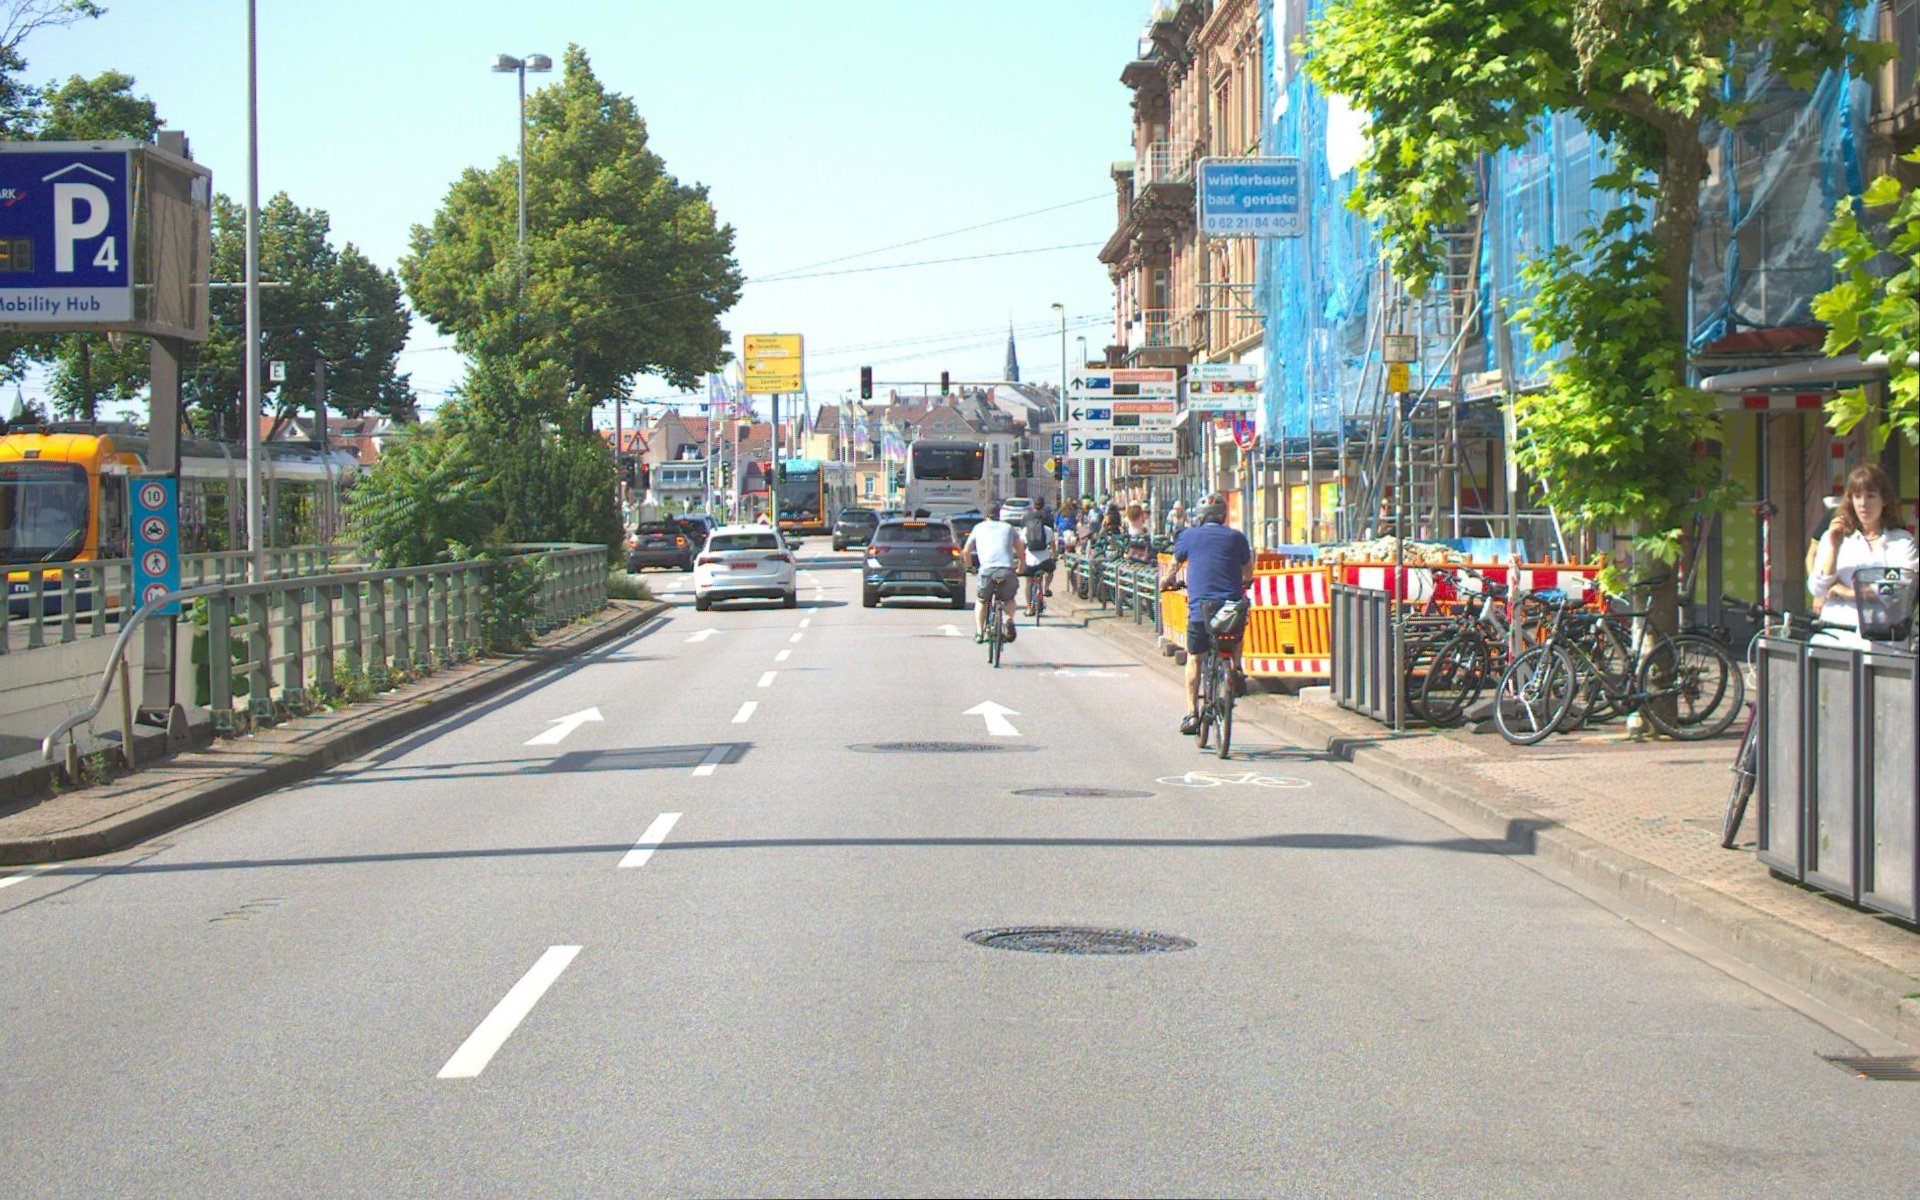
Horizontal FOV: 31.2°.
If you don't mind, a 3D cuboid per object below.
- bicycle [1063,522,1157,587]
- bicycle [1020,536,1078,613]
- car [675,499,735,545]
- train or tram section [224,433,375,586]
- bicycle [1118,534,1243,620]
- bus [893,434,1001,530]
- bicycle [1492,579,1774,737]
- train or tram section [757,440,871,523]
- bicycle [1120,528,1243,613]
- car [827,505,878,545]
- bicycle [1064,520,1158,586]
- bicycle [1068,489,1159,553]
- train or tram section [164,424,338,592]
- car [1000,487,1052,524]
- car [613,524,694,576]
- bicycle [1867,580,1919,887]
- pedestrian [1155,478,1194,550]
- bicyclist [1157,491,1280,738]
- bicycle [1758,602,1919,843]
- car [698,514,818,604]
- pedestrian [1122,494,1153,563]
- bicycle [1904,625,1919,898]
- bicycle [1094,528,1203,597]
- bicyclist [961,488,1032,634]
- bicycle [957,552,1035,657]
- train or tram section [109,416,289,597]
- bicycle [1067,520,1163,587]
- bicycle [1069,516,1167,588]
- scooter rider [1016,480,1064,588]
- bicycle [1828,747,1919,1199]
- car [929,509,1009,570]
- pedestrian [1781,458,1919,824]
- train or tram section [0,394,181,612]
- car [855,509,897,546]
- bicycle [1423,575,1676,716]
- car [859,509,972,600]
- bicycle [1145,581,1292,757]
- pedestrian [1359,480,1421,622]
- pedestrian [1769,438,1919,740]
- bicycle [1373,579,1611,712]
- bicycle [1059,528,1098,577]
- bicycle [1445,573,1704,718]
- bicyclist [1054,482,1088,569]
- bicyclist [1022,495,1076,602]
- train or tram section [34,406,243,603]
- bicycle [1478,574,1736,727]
[{"bbox_3d":[2.769,-0.844,63.470,1.693,1.174,0.463,1,1,0],"label":"bicycle"},{"bbox_3d":[1.319,-0.390,51.260,0.734,1.089,1.898,2,1,-2],"label":"bicycle"},{"bbox_3d":[-7.574,-2.316,102.387,1.451,1.296,4.000,2,1,0],"label":"car"},{"bbox_3d":[-16.209,-2.213,84.662,2.613,3.569,6.018,2,1,-1],"label":"train or tram section"},{"bbox_3d":[3.090,-0.329,48.231,1.693,1.174,0.608,1,1,0],"label":"bicycle"},{"bbox_3d":[-0.470,-3.571,105.648,2.969,2.767,8.643,2,1,-2],"label":"bus"},{"bbox_3d":[4.424,0.376,22.646,1.752,1.014,0.483,0,1,-3],"label":"bicycle"},{"bbox_3d":[-6.704,-5.438,159.324,2.824,3.569,10.027,2,1,12],"label":"train or tram section"},{"bbox_3d":[3.155,-0.421,48.980,1.693,1.174,0.608,1,1,0],"label":"bicycle"},{"bbox_3d":[-3.674,-2.561,117.923,1.452,1.296,3.341,2,1,3],"label":"car"},{"bbox_3d":[2.759,-0.861,62.943,1.693,1.174,0.451,1,1,0],"label":"bicycle"},{"bbox_3d":[2.914,-1.510,65.337,1.693,1.174,0.609,-1,2,0],"label":"bicycle"},{"bbox_3d":[-16.041,-2.075,78.231,2.613,3.569,6.899,2,1,-1],"label":"train or tram section"},{"bbox_3d":[3.432,-4.903,177.854,1.994,1.871,3.999,-1,2,11],"label":"car"},{"bbox_3d":[-8.245,-1.363,92.702,1.815,1.327,4.000,2,1,0],"label":"car"},{"bbox_3d":[4.546,0.514,13.599,1.752,1.177,0.579,0,1,-3],"label":"bicycle"},{"bbox_3d":[5.089,-2.042,81.577,0.755,1.650,0.837,-4,1,-2],"label":"pedestrian"},{"bbox_3d":[1.734,0.087,23.181,0.688,1.610,0.918,2,1,-2],"label":"bicyclist"},{"bbox_3d":[4.423,0.531,14.996,1.754,1.014,0.657,1,1,22],"label":"bicycle"},{"bbox_3d":[-3.540,-0.743,60.887,1.858,1.502,4.000,2,1,0],"label":"car"},{"bbox_3d":[4.248,-1.712,82.324,0.654,1.615,0.815,-1,2,-2],"label":"pedestrian"},{"bbox_3d":[4.465,0.608,12.781,1.752,1.014,0.557,0,1,-3],"label":"bicycle"},{"bbox_3d":[3.034,-0.609,55.415,1.693,1.083,0.608,1,1,0],"label":"bicycle"},{"bbox_3d":[0.394,-0.434,37.775,0.688,1.571,1.050,2,1,-2],"label":"bicyclist"},{"bbox_3d":[0.384,0.035,37.790,0.734,1.089,1.898,2,1,-2],"label":"bicycle"},{"bbox_3d":[-15.893,-1.944,72.107,2.613,3.569,5.357,2,1,-1],"label":"train or tram section"},{"bbox_3d":[2.781,-0.837,61.775,1.693,1.174,0.497,1,1,0],"label":"bicycle"},{"bbox_3d":[2.806,-0.856,61.155,1.693,1.236,0.608,1,1,0],"label":"bicycle"},{"bbox_3d":[1.295,-1.080,55.810,0.688,1.723,0.778,2,1,-2],"label":"scooter rider"},{"bbox_3d":[2.208,0.879,6.014,0.734,1.089,2.131,2,1,-2],"label":"bicycle"},{"bbox_3d":[0.224,-1.562,88.765,1.993,1.487,4.000,2,1,0],"label":"car"},{"bbox_3d":[4.216,0.186,16.140,0.657,1.677,0.653,0,0,17],"label":"pedestrian"},{"bbox_3d":[-15.634,-1.692,60.301,2.613,3.569,6.104,2,1,-1],"label":"train or tram section"},{"bbox_3d":[-3.104,-2.699,127.795,1.451,1.296,3.342,2,1,0],"label":"car"},{"bbox_3d":[4.300,0.327,25.127,1.752,1.014,0.483,0,1,-3],"label":"bicycle"},{"bbox_3d":[-0.756,-0.813,60.032,1.873,1.487,4.000,2,1,0],"label":"car"},{"bbox_3d":[1.722,0.439,23.156,0.734,1.089,1.911,2,1,-2],"label":"bicycle"},{"bbox_3d":[5.452,-0.627,43.588,0.639,1.770,0.649,2,1,-1],"label":"pedestrian"},{"bbox_3d":[5.593,-0.076,21.679,0.814,1.842,0.891,-2,1,7],"label":"pedestrian"},{"bbox_3d":[4.110,0.346,26.597,1.752,1.014,0.483,0,1,-3],"label":"bicycle"},{"bbox_3d":[2.708,-1.090,78.620,0.734,1.089,1.898,2,1,-2],"label":"bicycle"},{"bbox_3d":[4.378,0.320,24.529,1.752,1.014,0.483,0,1,-3],"label":"bicycle"},{"bbox_3d":[2.538,-1.705,78.604,0.688,1.955,0.778,2,1,-2],"label":"bicyclist"},{"bbox_3d":[1.325,-0.770,51.288,0.688,1.571,1.050,2,1,-2],"label":"bicyclist"},{"bbox_3d":[-15.767,-1.822,66.369,2.613,3.569,6.104,2,1,-1],"label":"train or tram section"},{"bbox_3d":[4.467,0.335,23.725,1.752,1.014,0.483,0,1,-21],"label":"bicycle"}]
